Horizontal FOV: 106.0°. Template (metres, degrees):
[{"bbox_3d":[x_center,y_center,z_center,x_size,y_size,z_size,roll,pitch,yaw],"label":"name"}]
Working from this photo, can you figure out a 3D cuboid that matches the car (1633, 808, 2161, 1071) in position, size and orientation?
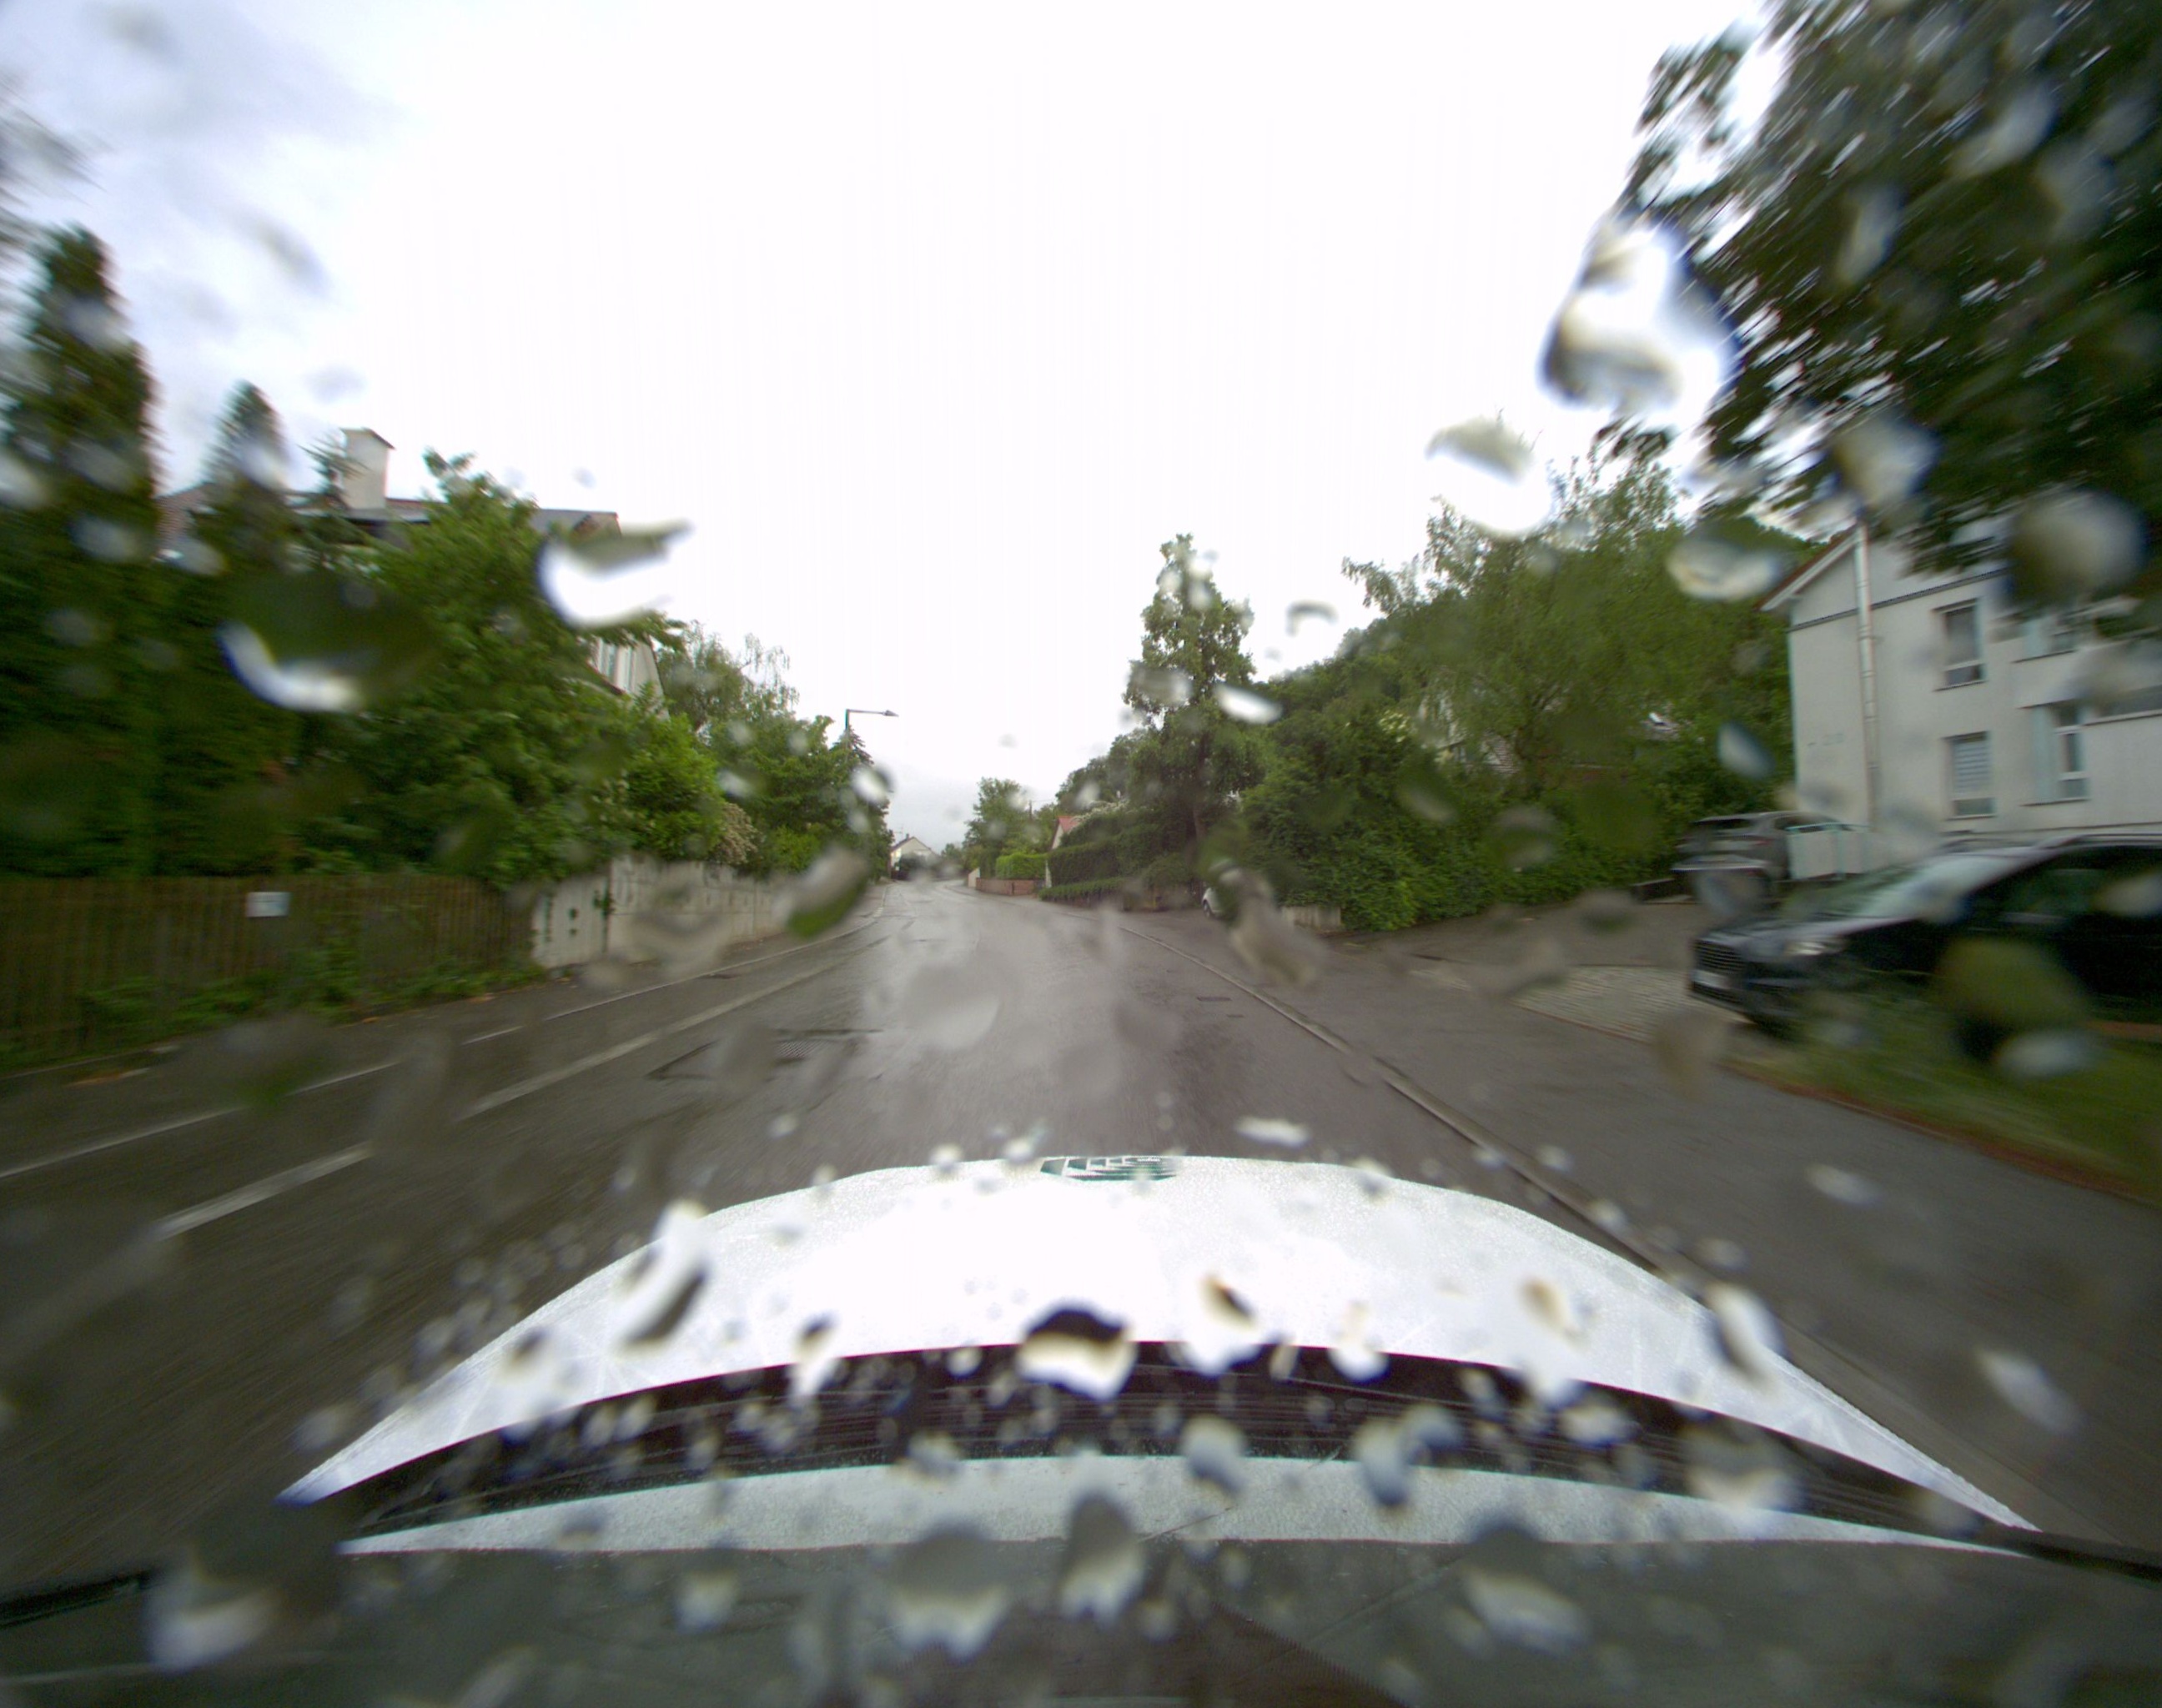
[{"bbox_3d":[7.134,0.612,6.396,4.300,1.716,1.735,2,-2,14],"label":"car"}]

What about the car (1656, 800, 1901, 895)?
[{"bbox_3d":[13.544,-0.126,15.815,4.280,1.633,1.716,-2,-2,-21],"label":"car"}]

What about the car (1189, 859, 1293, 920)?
[{"bbox_3d":[4.612,0.998,24.013,1.533,1.535,3.828,-5,0,-12],"label":"car"}]
